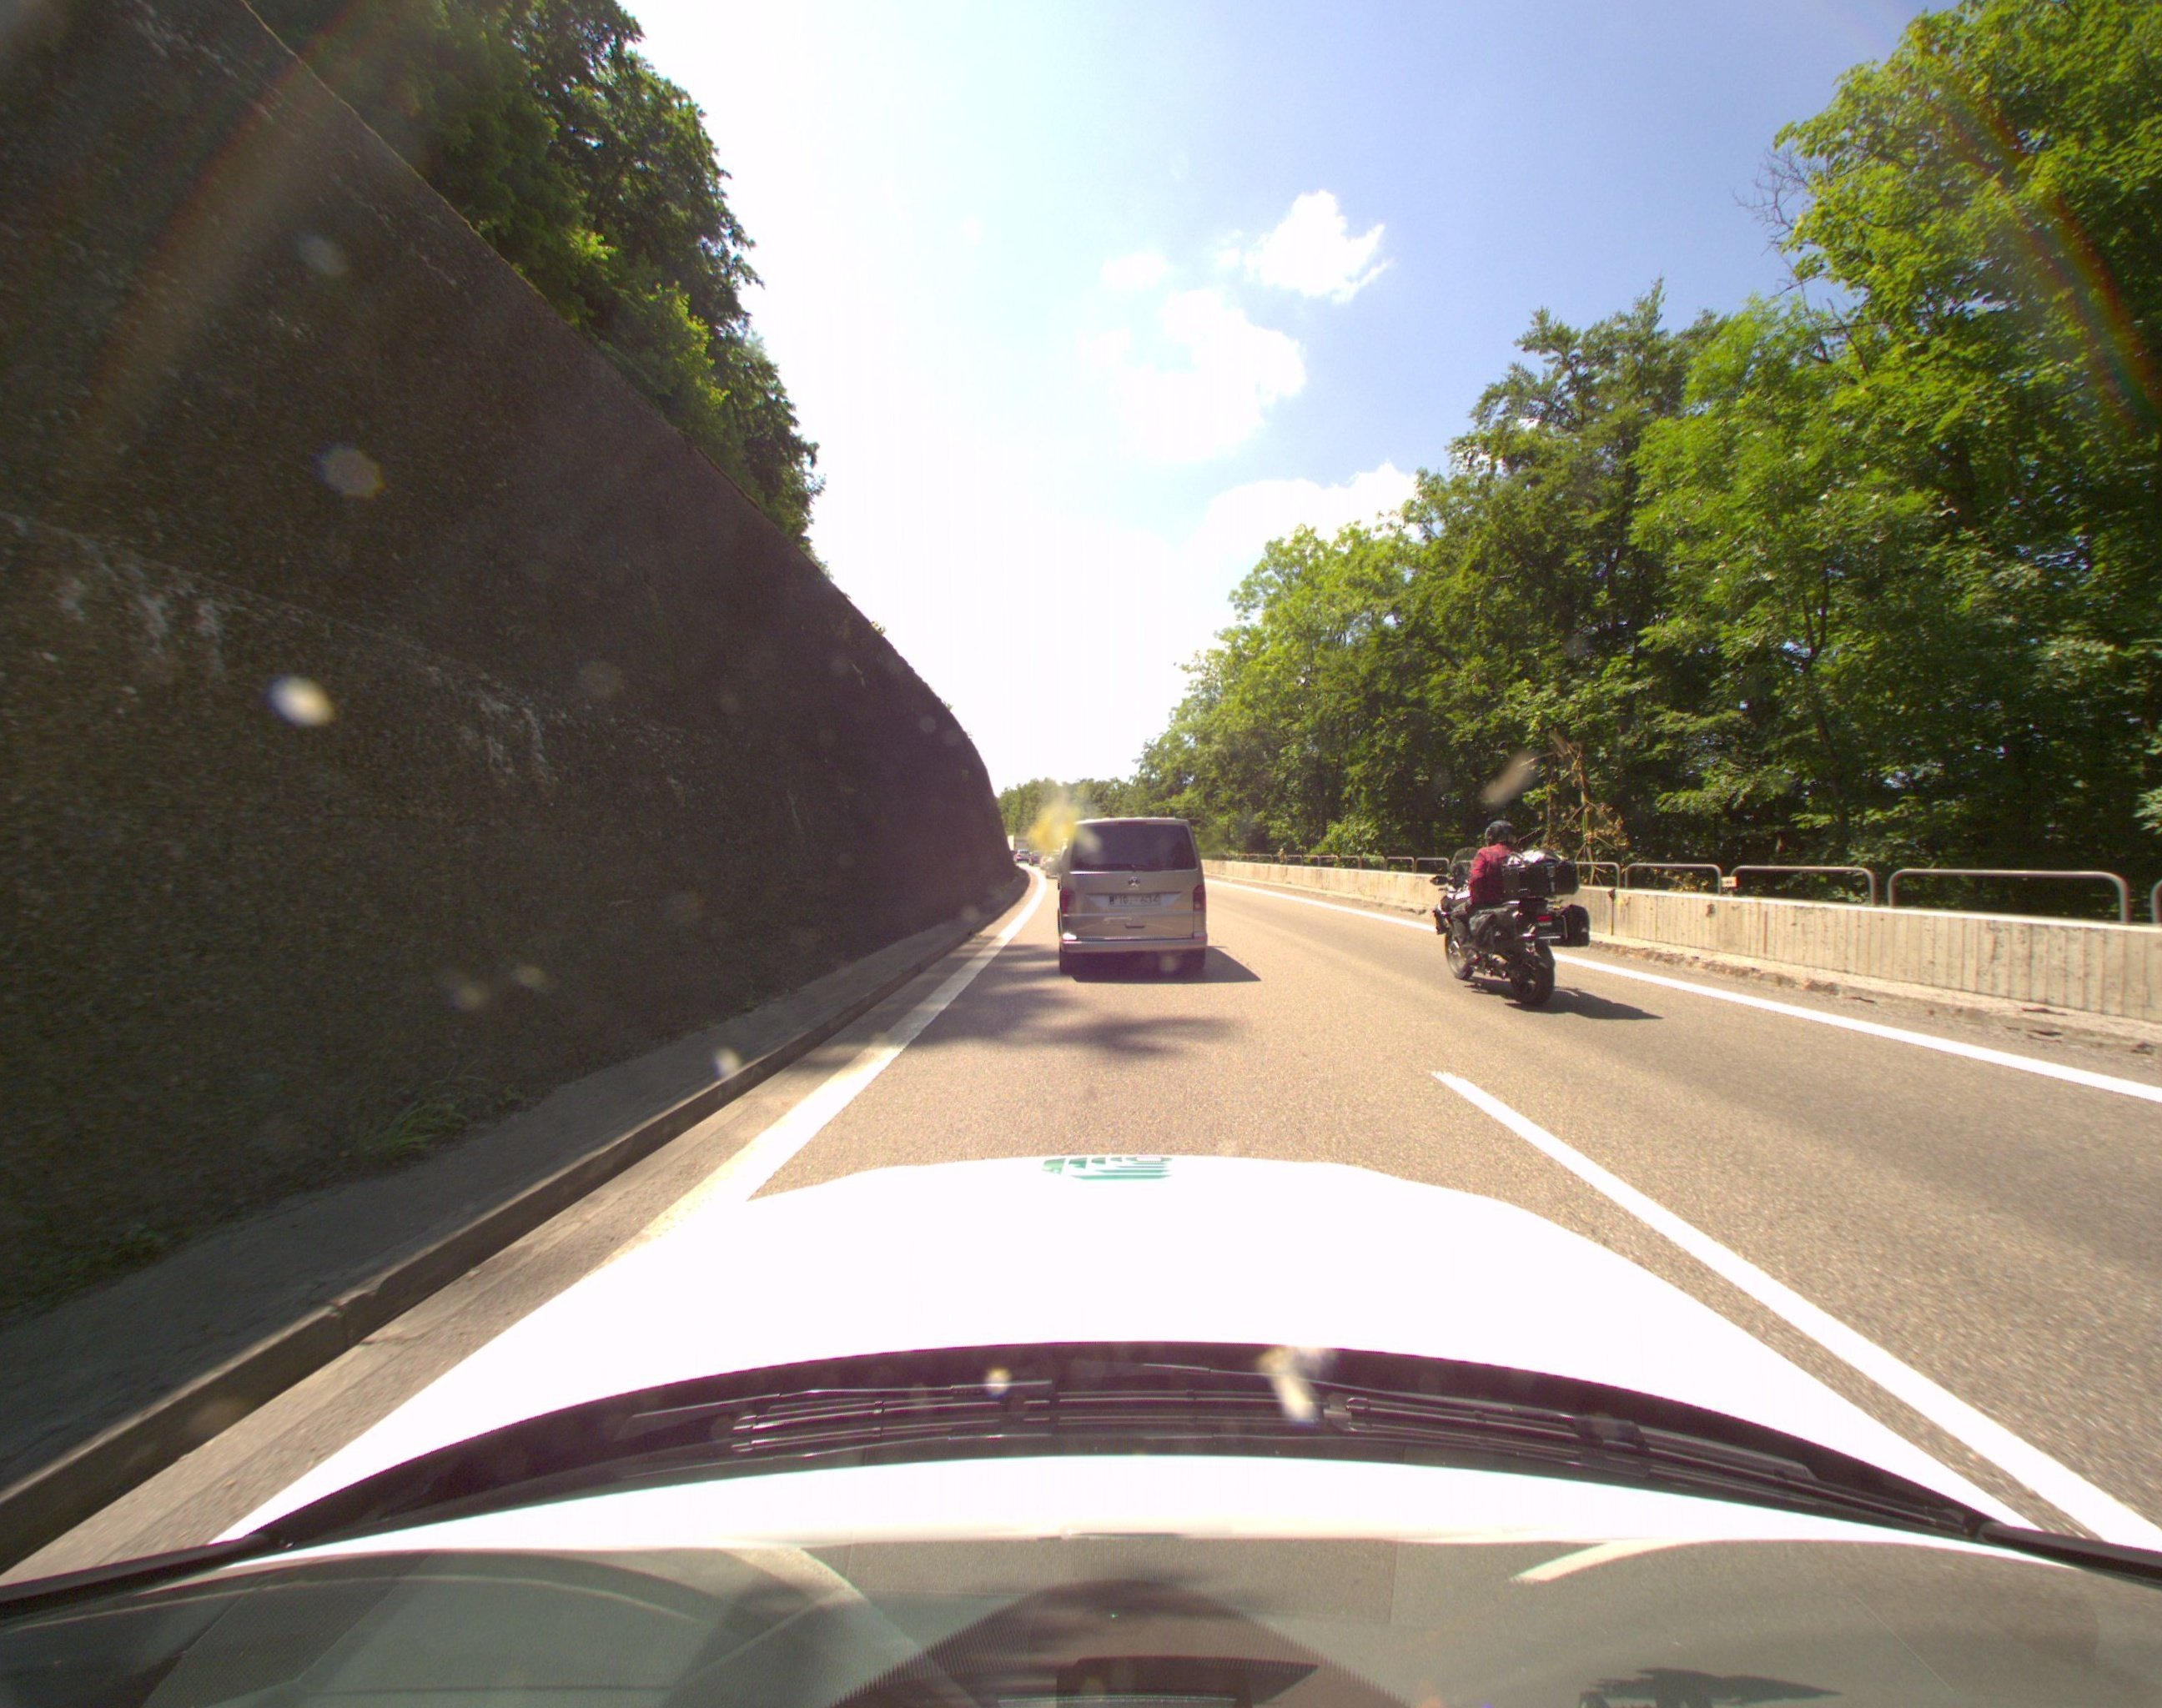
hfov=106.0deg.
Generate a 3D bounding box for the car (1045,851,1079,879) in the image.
[{"bbox_3d":[-1.106,0.602,46.046,1.767,1.472,3.996,0,0,-3],"label":"car"}]

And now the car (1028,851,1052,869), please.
[{"bbox_3d":[-3.893,0.551,77.553,1.857,1.619,3.988,0,0,-9],"label":"car"}]

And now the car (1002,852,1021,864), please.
[{"bbox_3d":[-8.979,0.488,104.595,1.754,1.571,3.751,0,0,-15],"label":"car"}]

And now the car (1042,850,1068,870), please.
[{"bbox_3d":[-2.042,0.435,63.628,1.859,1.486,3.994,0,0,-4],"label":"car"}]

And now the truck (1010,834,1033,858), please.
[{"bbox_3d":[-9.470,-1.215,129.049,2.924,3.687,7.701,-1,0,-9],"label":"truck"}]

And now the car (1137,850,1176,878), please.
[{"bbox_3d":[4.119,0.499,44.788,1.680,1.458,3.998,1,0,-1],"label":"car"}]

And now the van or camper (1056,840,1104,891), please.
[{"bbox_3d":[-0.095,0.450,33.970,1.848,1.942,4.162,-1,0,-2],"label":"van or camper"}]

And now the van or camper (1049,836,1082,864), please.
[{"bbox_3d":[-1.769,-0.452,90.487,2.604,2.855,6.313,4,0,-10],"label":"van or camper"}]

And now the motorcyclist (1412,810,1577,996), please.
[{"bbox_3d":[4.286,0.471,8.577,1.057,1.800,1.338,0,0,-1],"label":"motorcyclist"}]

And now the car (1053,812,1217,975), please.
[{"bbox_3d":[0.699,0.462,11.990,1.933,1.931,4.696,0,0,1],"label":"car"}]

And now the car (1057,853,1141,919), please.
[{"bbox_3d":[0.359,0.744,21.116,1.900,1.489,4.375,1,0,-2],"label":"car"}]

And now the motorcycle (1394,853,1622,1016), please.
[{"bbox_3d":[4.276,0.708,8.510,0.969,1.419,2.680,0,0,0],"label":"motorcycle"}]

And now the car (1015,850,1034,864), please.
[{"bbox_3d":[-6.426,0.335,91.911,1.991,1.618,3.992,0,0,-6],"label":"car"}]
